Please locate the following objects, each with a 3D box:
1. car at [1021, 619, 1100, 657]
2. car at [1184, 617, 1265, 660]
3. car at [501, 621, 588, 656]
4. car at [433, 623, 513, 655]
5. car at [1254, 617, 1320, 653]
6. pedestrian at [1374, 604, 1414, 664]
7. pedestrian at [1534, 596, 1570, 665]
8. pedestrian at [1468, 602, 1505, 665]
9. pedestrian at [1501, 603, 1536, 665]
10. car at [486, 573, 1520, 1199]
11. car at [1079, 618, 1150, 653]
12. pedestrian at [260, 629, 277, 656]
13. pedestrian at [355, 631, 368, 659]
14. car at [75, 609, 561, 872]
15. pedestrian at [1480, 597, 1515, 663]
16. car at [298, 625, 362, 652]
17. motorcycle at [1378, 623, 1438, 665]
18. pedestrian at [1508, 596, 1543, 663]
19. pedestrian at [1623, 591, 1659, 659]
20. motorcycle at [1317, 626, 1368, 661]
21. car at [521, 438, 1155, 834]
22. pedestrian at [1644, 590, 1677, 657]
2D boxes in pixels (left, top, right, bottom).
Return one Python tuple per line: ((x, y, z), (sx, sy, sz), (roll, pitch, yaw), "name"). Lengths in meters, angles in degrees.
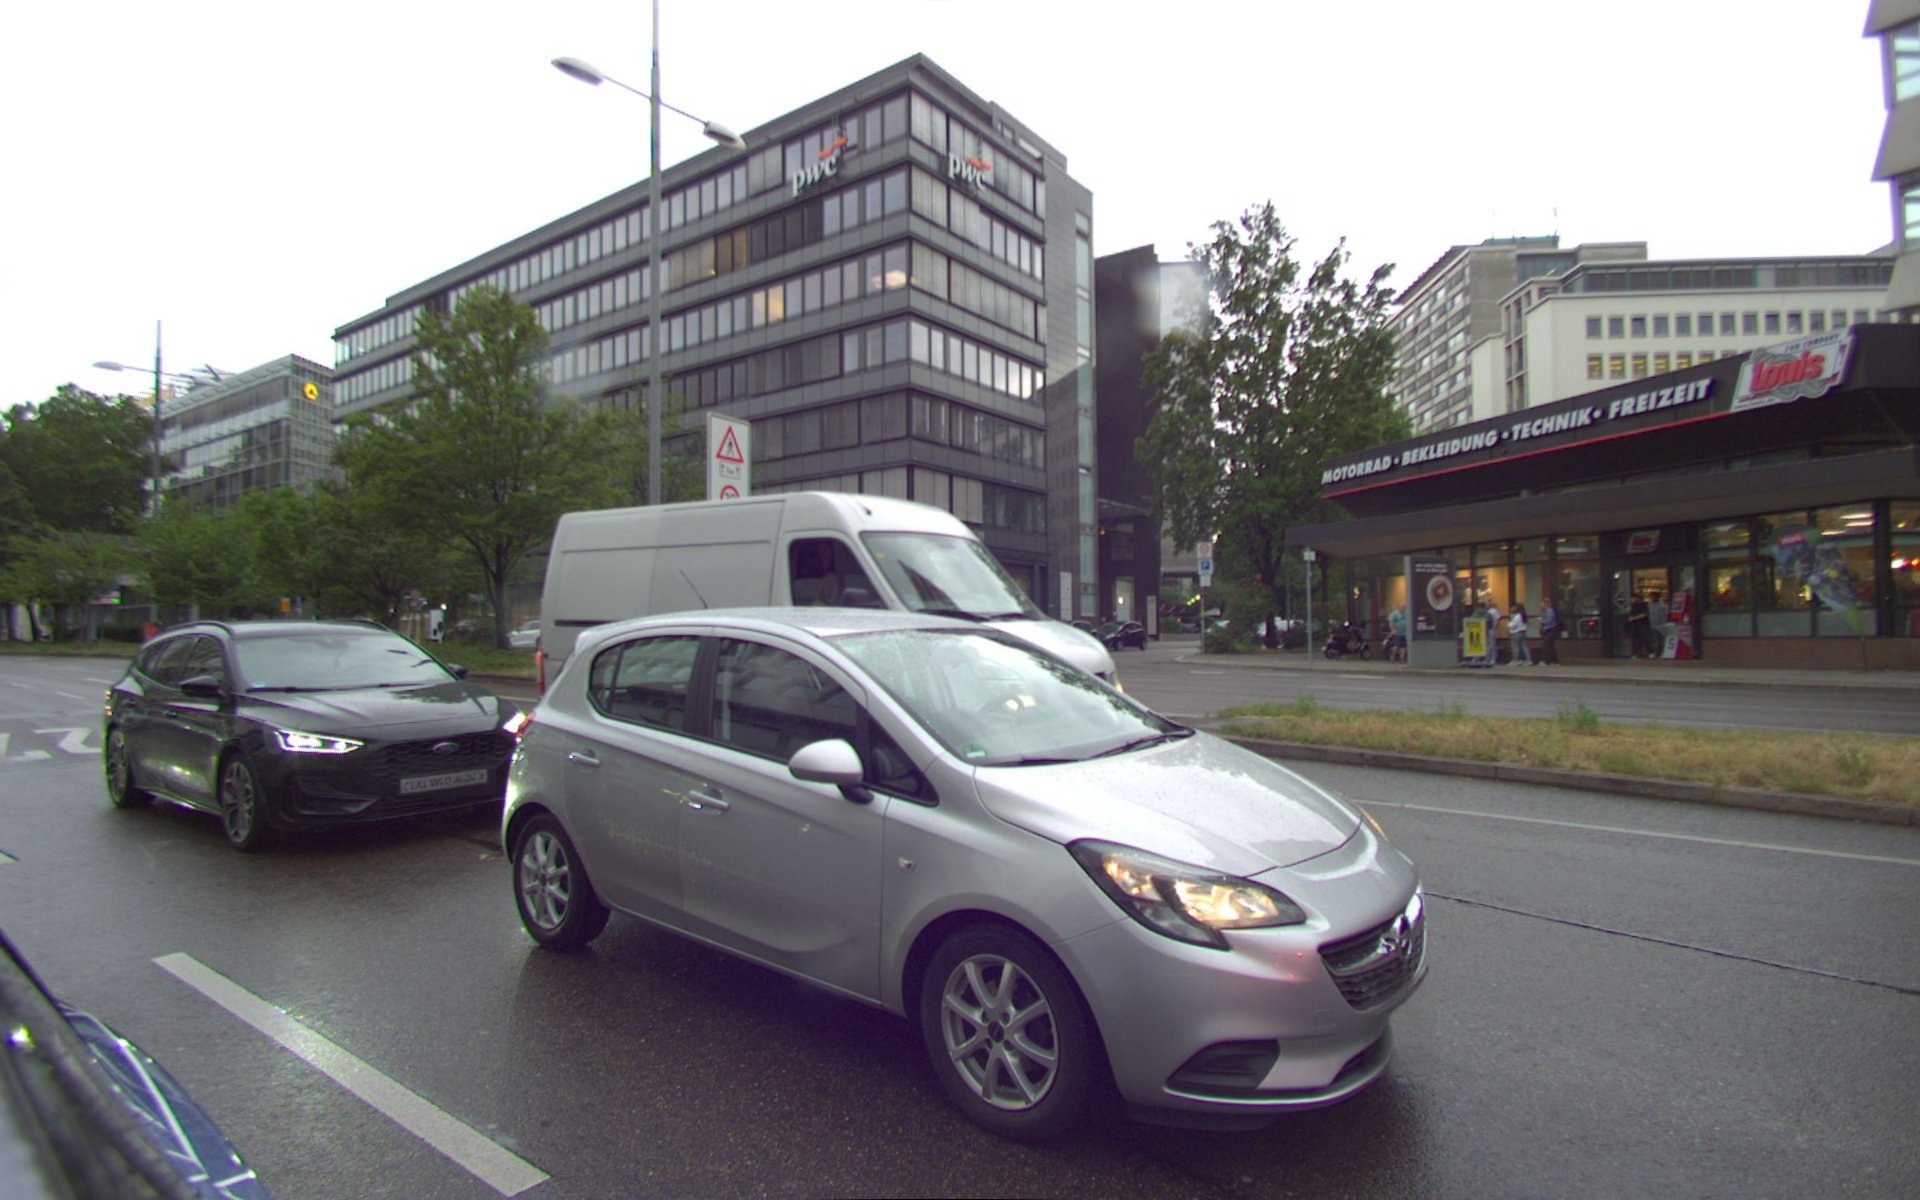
((4.539, 1.667, 45.474), (1.847, 1.596, 3.716), (-2, -1, 37), "car")
((10.667, 1.512, 40.641), (1.847, 1.596, 3.716), (-2, -1, 37), "car")
((-19.410, 1.793, 47.253), (3.992, 1.518, 1.975), (-2, -1, 36), "car")
((-24.599, 1.976, 51.104), (4.100, 1.518, 1.975), (-2, -1, 36), "car")
((15.565, 1.634, 48.041), (1.847, 1.596, 3.716), (-2, -1, 37), "car")
((12.324, 0.966, 28.746), (0.721, 1.661, 0.702), (0, -1, -28), "pedestrian")
((15.260, 0.775, 26.100), (0.532, 1.757, 0.560), (0, -1, -29), "pedestrian")
((13.975, 0.878, 26.865), (0.605, 1.623, 0.614), (0, -1, -29), "pedestrian")
((14.624, 0.882, 26.503), (0.532, 1.582, 0.560), (0, -1, -29), "pedestrian")
((-0.152, 0.708, 3.985), (3.872, 1.446, 1.631), (-2, -1, 40), "car")
((7.574, 1.723, 49.470), (1.847, 1.596, 3.716), (-2, -1, 37), "car")
((-51.896, 3.181, 75.957), (0.539, 2.029, 0.917), (-2, -1, 39), "pedestrian")
((-45.200, 3.392, 76.414), (0.500, 2.029, 0.681), (-2, -1, 38), "pedestrian")
((-4.948, 0.837, 7.595), (4.087, 1.446, 1.755), (-2, -1, 37), "car")
((14.594, 0.816, 27.484), (0.605, 1.757, 0.560), (0, -1, -29), "pedestrian")
((-37.944, 2.298, 60.916), (3.992, 1.518, 1.975), (-2, -1, 36), "car")
((13.832, 1.351, 31.228), (1.646, 1.242, 0.360), (-1, -1, 2), "motorcycle")
((15.095, 0.789, 27.023), (0.532, 1.757, 0.560), (0, -1, -29), "pedestrian")
((17.499, 0.632, 26.020), (0.516, 1.731, 0.500), (-1, -1, -16), "pedestrian")
((12.964, 1.463, 34.282), (1.600, 1.153, 0.360), (-1, -1, -8), "motorcycle")
((-1.290, 0.280, 8.647), (5.467, 2.459, 1.930), (-2, -1, 35), "car")
((18.327, 0.620, 26.470), (0.501, 1.731, 0.447), (-1, -1, -16), "pedestrian")
